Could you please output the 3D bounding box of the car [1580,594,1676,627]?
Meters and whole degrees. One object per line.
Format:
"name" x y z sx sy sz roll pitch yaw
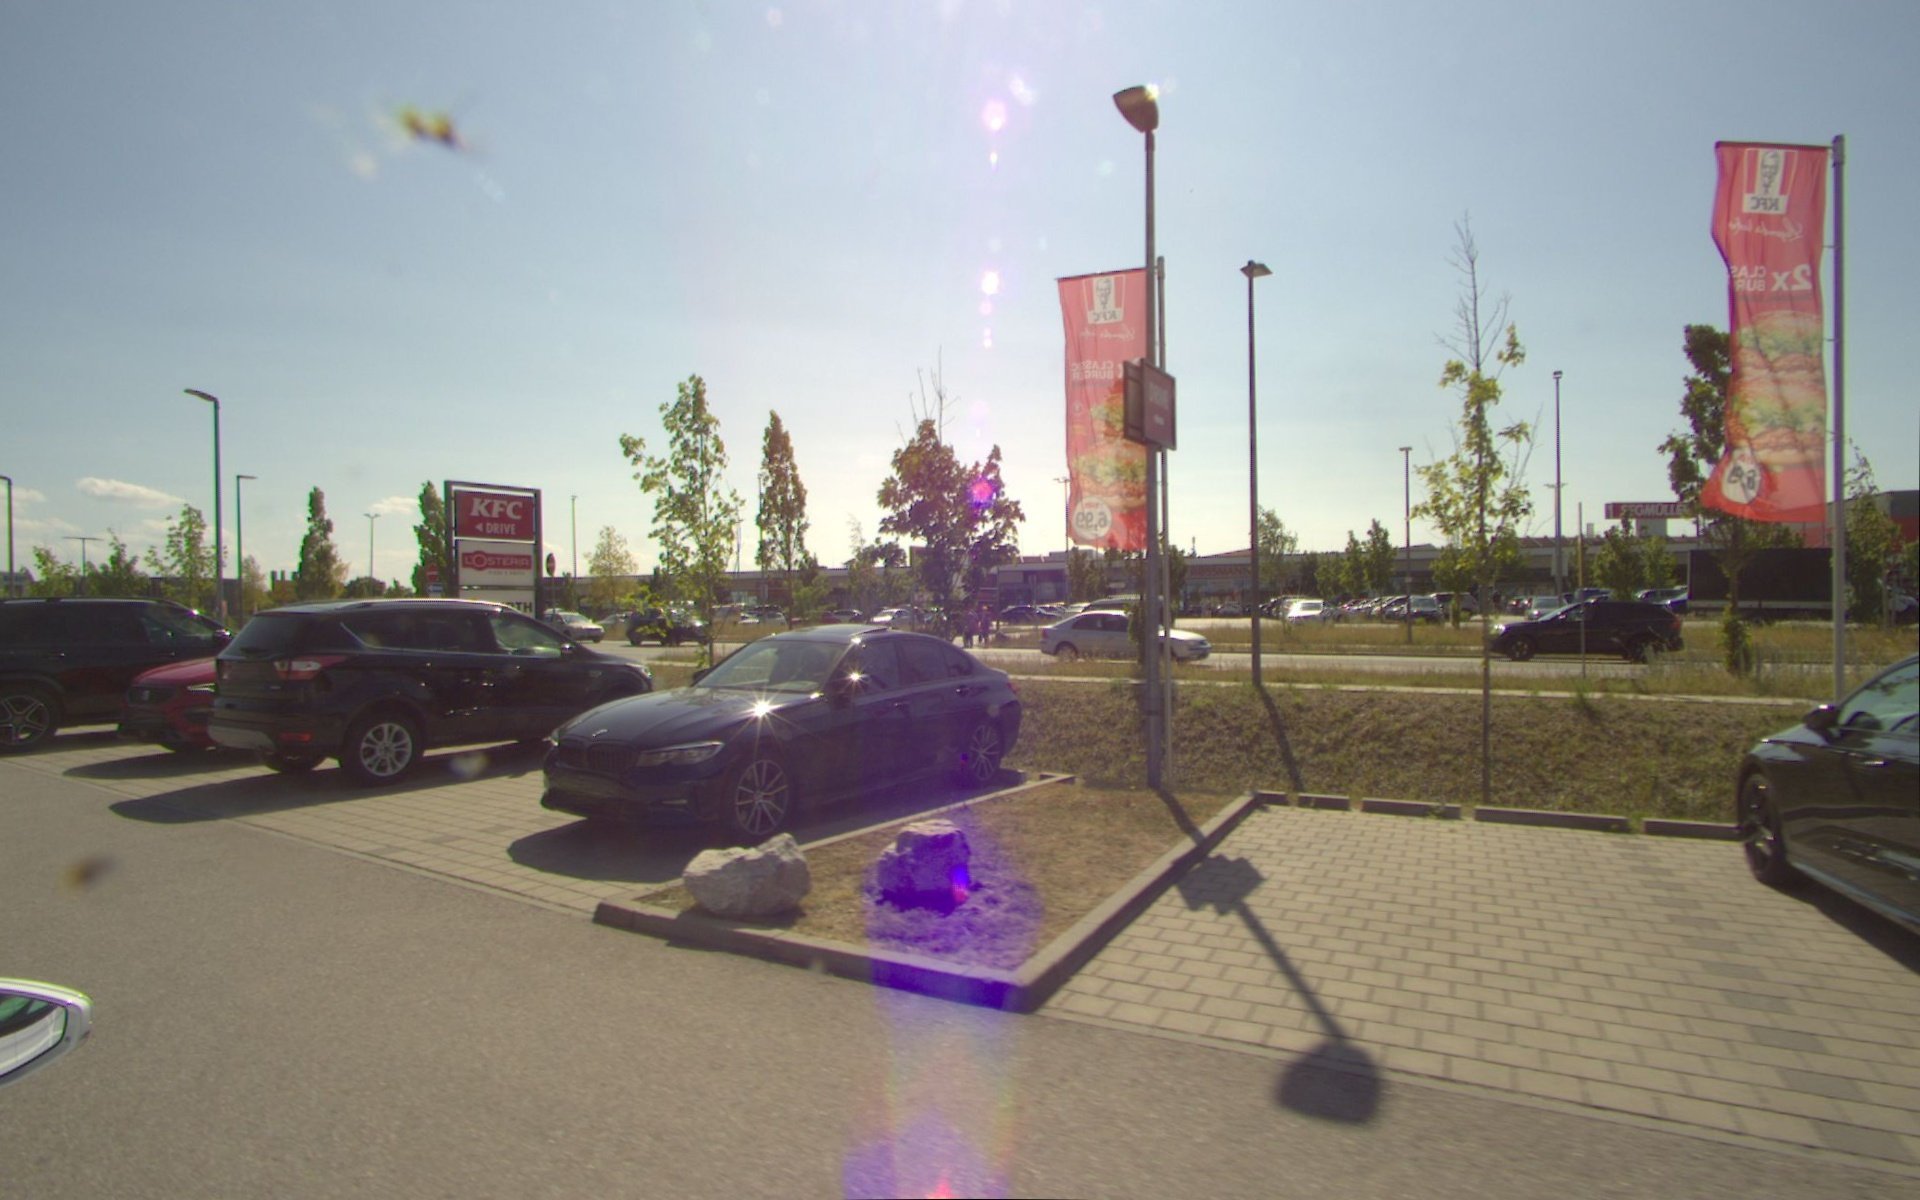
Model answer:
"car" 39.427 0.599 59.204 4.322 1.880 1.954 0 0 14

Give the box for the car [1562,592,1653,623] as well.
"car" 40.093 0.452 62.113 4.322 1.880 1.954 0 0 14

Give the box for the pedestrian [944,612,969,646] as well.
"pedestrian" -0.128 1.208 41.812 0.715 1.416 0.861 -1 -1 31

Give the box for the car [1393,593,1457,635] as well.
"car" 21.988 0.640 47.257 1.930 1.880 4.376 0 0 37

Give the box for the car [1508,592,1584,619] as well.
"car" 42.303 0.414 72.367 4.322 1.880 1.954 0 0 14

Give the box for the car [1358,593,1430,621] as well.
"car" 30.180 0.500 69.742 4.322 1.880 1.954 0 0 14

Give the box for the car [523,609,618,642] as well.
"car" -18.884 1.219 48.471 4.590 1.524 1.989 0 0 33

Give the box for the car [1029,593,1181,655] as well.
"car" 4.914 0.781 34.288 4.827 1.980 1.868 0 0 34

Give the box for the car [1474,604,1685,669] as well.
"car" 16.699 0.933 27.295 4.733 1.646 1.991 0 0 30

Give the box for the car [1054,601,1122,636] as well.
"car" 7.156 1.033 55.625 1.972 1.870 4.381 0 0 34

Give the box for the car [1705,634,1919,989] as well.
"car" 4.879 0.868 4.206 1.743 1.428 4.198 0 -2 21

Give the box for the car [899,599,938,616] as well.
"car" -3.954 0.737 95.096 3.409 1.572 1.666 0 0 8

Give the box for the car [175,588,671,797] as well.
"car" -5.359 0.832 10.630 1.868 1.724 4.313 -1 -2 31

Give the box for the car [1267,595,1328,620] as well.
"car" 26.786 0.596 79.601 4.321 1.880 1.954 0 0 11

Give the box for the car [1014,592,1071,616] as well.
"car" 7.207 0.387 87.233 4.837 2.040 2.081 0 0 9

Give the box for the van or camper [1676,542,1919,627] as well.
"van or camper" 34.113 -0.542 40.567 2.395 3.142 7.979 0 0 -43

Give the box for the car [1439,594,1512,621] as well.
"car" 37.264 0.557 72.538 4.322 1.880 1.954 0 0 14

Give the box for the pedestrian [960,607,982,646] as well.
"pedestrian" 0.455 1.068 40.969 0.659 1.576 0.621 0 0 39

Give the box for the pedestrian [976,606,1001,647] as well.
"pedestrian" 1.157 1.058 40.432 0.747 1.621 0.687 0 0 39

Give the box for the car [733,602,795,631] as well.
"car" -14.384 1.195 73.849 1.966 2.040 5.165 0 0 23

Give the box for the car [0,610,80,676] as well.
"car" -23.839 1.039 25.006 4.064 1.497 1.830 -1 1 35

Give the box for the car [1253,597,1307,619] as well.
"car" 28.030 0.691 87.807 4.321 1.880 1.954 0 0 11

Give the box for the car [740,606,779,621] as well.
"car" -19.268 1.285 96.406 3.419 1.418 1.431 0 0 12

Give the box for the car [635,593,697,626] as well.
"car" -23.017 0.756 78.588 1.966 2.487 5.063 0 0 23

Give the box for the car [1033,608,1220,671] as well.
"car" 4.455 1.004 26.955 4.587 1.547 1.991 0 0 30

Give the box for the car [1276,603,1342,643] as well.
"car" 17.426 1.125 49.906 1.974 1.880 4.258 0 0 37

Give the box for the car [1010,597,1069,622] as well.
"car" 6.733 0.775 84.612 4.837 2.040 2.081 0 0 9

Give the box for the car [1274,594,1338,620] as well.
"car" 25.616 0.534 74.341 4.322 1.880 1.954 0 0 14

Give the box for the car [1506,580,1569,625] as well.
"car" 25.786 0.125 44.645 1.930 1.880 4.376 0 0 37

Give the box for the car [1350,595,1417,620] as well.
"car" 31.814 0.568 75.351 4.322 1.880 1.954 0 0 14

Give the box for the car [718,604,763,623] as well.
"car" -20.100 1.222 91.596 3.619 1.639 1.902 0 0 21

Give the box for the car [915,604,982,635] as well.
"car" -0.677 1.193 63.184 1.972 1.870 4.706 0 0 34

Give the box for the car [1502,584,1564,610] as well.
"car" 45.818 -0.253 80.172 3.927 2.040 1.997 0 0 17

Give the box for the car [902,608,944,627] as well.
"car" -3.225 1.511 87.169 3.409 1.572 1.666 0 0 8

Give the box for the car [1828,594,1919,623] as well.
"car" 60.954 0.578 66.706 4.322 1.880 1.954 0 0 14

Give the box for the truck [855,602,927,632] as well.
"truck" -4.524 1.110 66.544 1.972 1.888 5.403 0 0 33

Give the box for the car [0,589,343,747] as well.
"car" -10.900 0.817 13.030 1.868 1.783 4.569 -1 -2 31

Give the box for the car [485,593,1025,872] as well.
"car" -1.343 0.855 8.345 1.869 1.659 4.428 -1 -2 33

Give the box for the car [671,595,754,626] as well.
"car" -18.931 0.823 76.959 2.772 2.266 6.289 0 -1 26

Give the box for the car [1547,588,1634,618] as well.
"car" 40.550 0.185 64.473 4.322 1.880 1.954 0 0 14

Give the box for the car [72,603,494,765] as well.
"car" -8.016 0.907 12.385 1.861 1.629 4.077 0 -1 16

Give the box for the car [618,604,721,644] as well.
"car" -12.667 1.011 43.625 4.540 1.686 1.868 0 0 34

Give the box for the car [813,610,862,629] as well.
"car" -10.955 1.738 89.555 3.932 1.639 1.995 0 0 22

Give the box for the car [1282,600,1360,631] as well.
"car" 22.135 0.942 61.579 4.322 1.880 1.954 0 0 14

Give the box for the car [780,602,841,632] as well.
"car" -10.555 1.196 70.934 1.974 2.040 4.063 0 0 37

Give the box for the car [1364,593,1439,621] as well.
"car" 29.629 0.472 67.331 4.322 1.880 1.954 0 0 14
